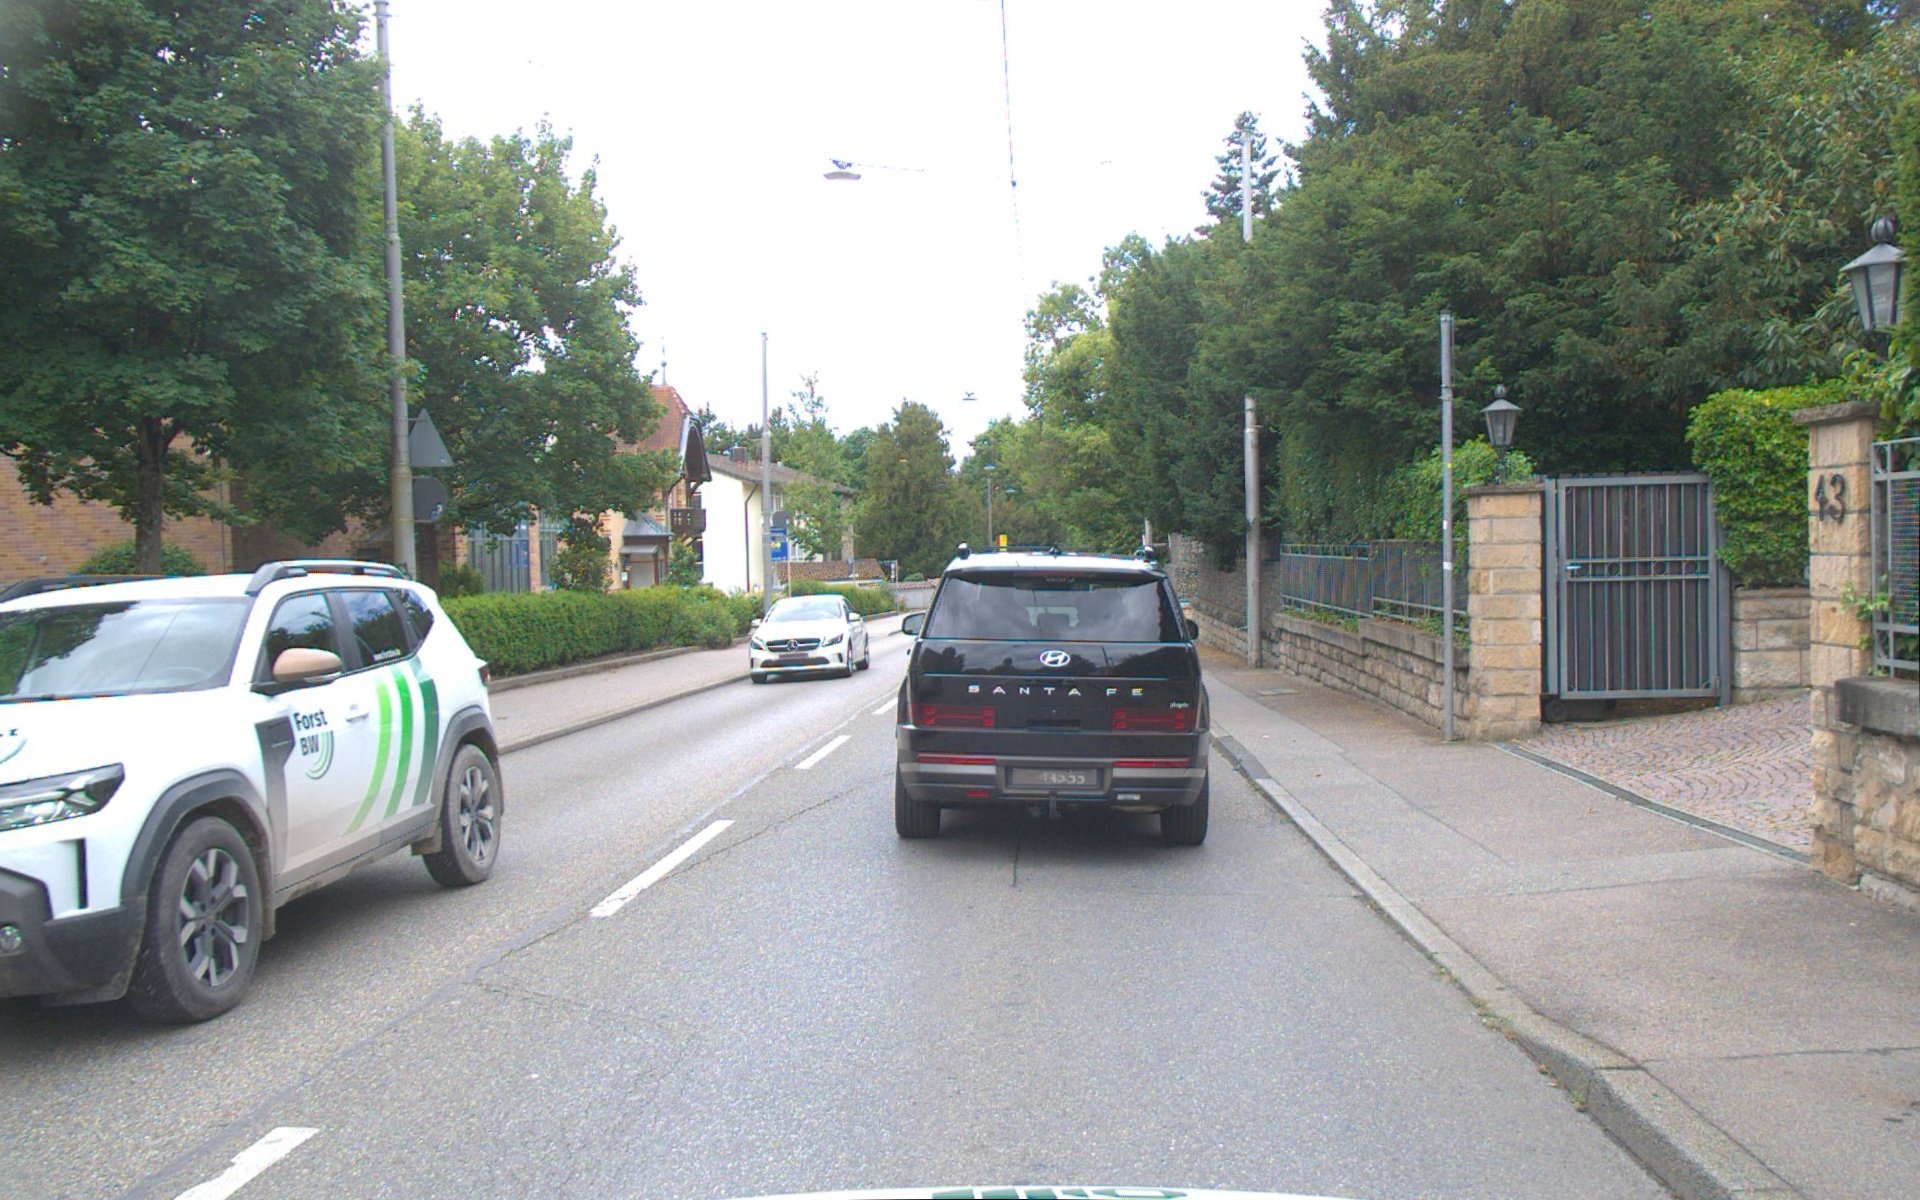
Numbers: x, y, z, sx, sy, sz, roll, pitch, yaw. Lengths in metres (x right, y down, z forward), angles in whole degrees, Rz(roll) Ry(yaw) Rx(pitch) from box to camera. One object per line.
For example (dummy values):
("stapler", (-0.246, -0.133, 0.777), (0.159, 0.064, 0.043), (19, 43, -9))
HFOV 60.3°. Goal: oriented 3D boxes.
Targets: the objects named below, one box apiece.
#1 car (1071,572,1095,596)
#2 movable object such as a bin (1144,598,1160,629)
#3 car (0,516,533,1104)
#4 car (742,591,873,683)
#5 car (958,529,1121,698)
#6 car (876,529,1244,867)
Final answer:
("car", (8.983, -1.149, 120.937), (1.610, 1.588, 3.652), (-1, -2, 6))
("movable object such as a bin", (5.932, 0.415, 51.106), (0.435, 0.925, 0.394), (-2, 0, 13))
("car", (-3.358, 0.641, 6.902), (1.732, 1.666, 4.303), (-4, 0, 3))
("car", (-2.668, 0.617, 29.782), (1.730, 1.446, 4.067), (-3, 0, 3))
("car", (1.014, 0.114, 22.436), (1.917, 1.989, 4.224), (3, 1, 1))
("car", (0.648, 0.488, 10.906), (1.916, 1.742, 4.225), (1, 1, 3))
